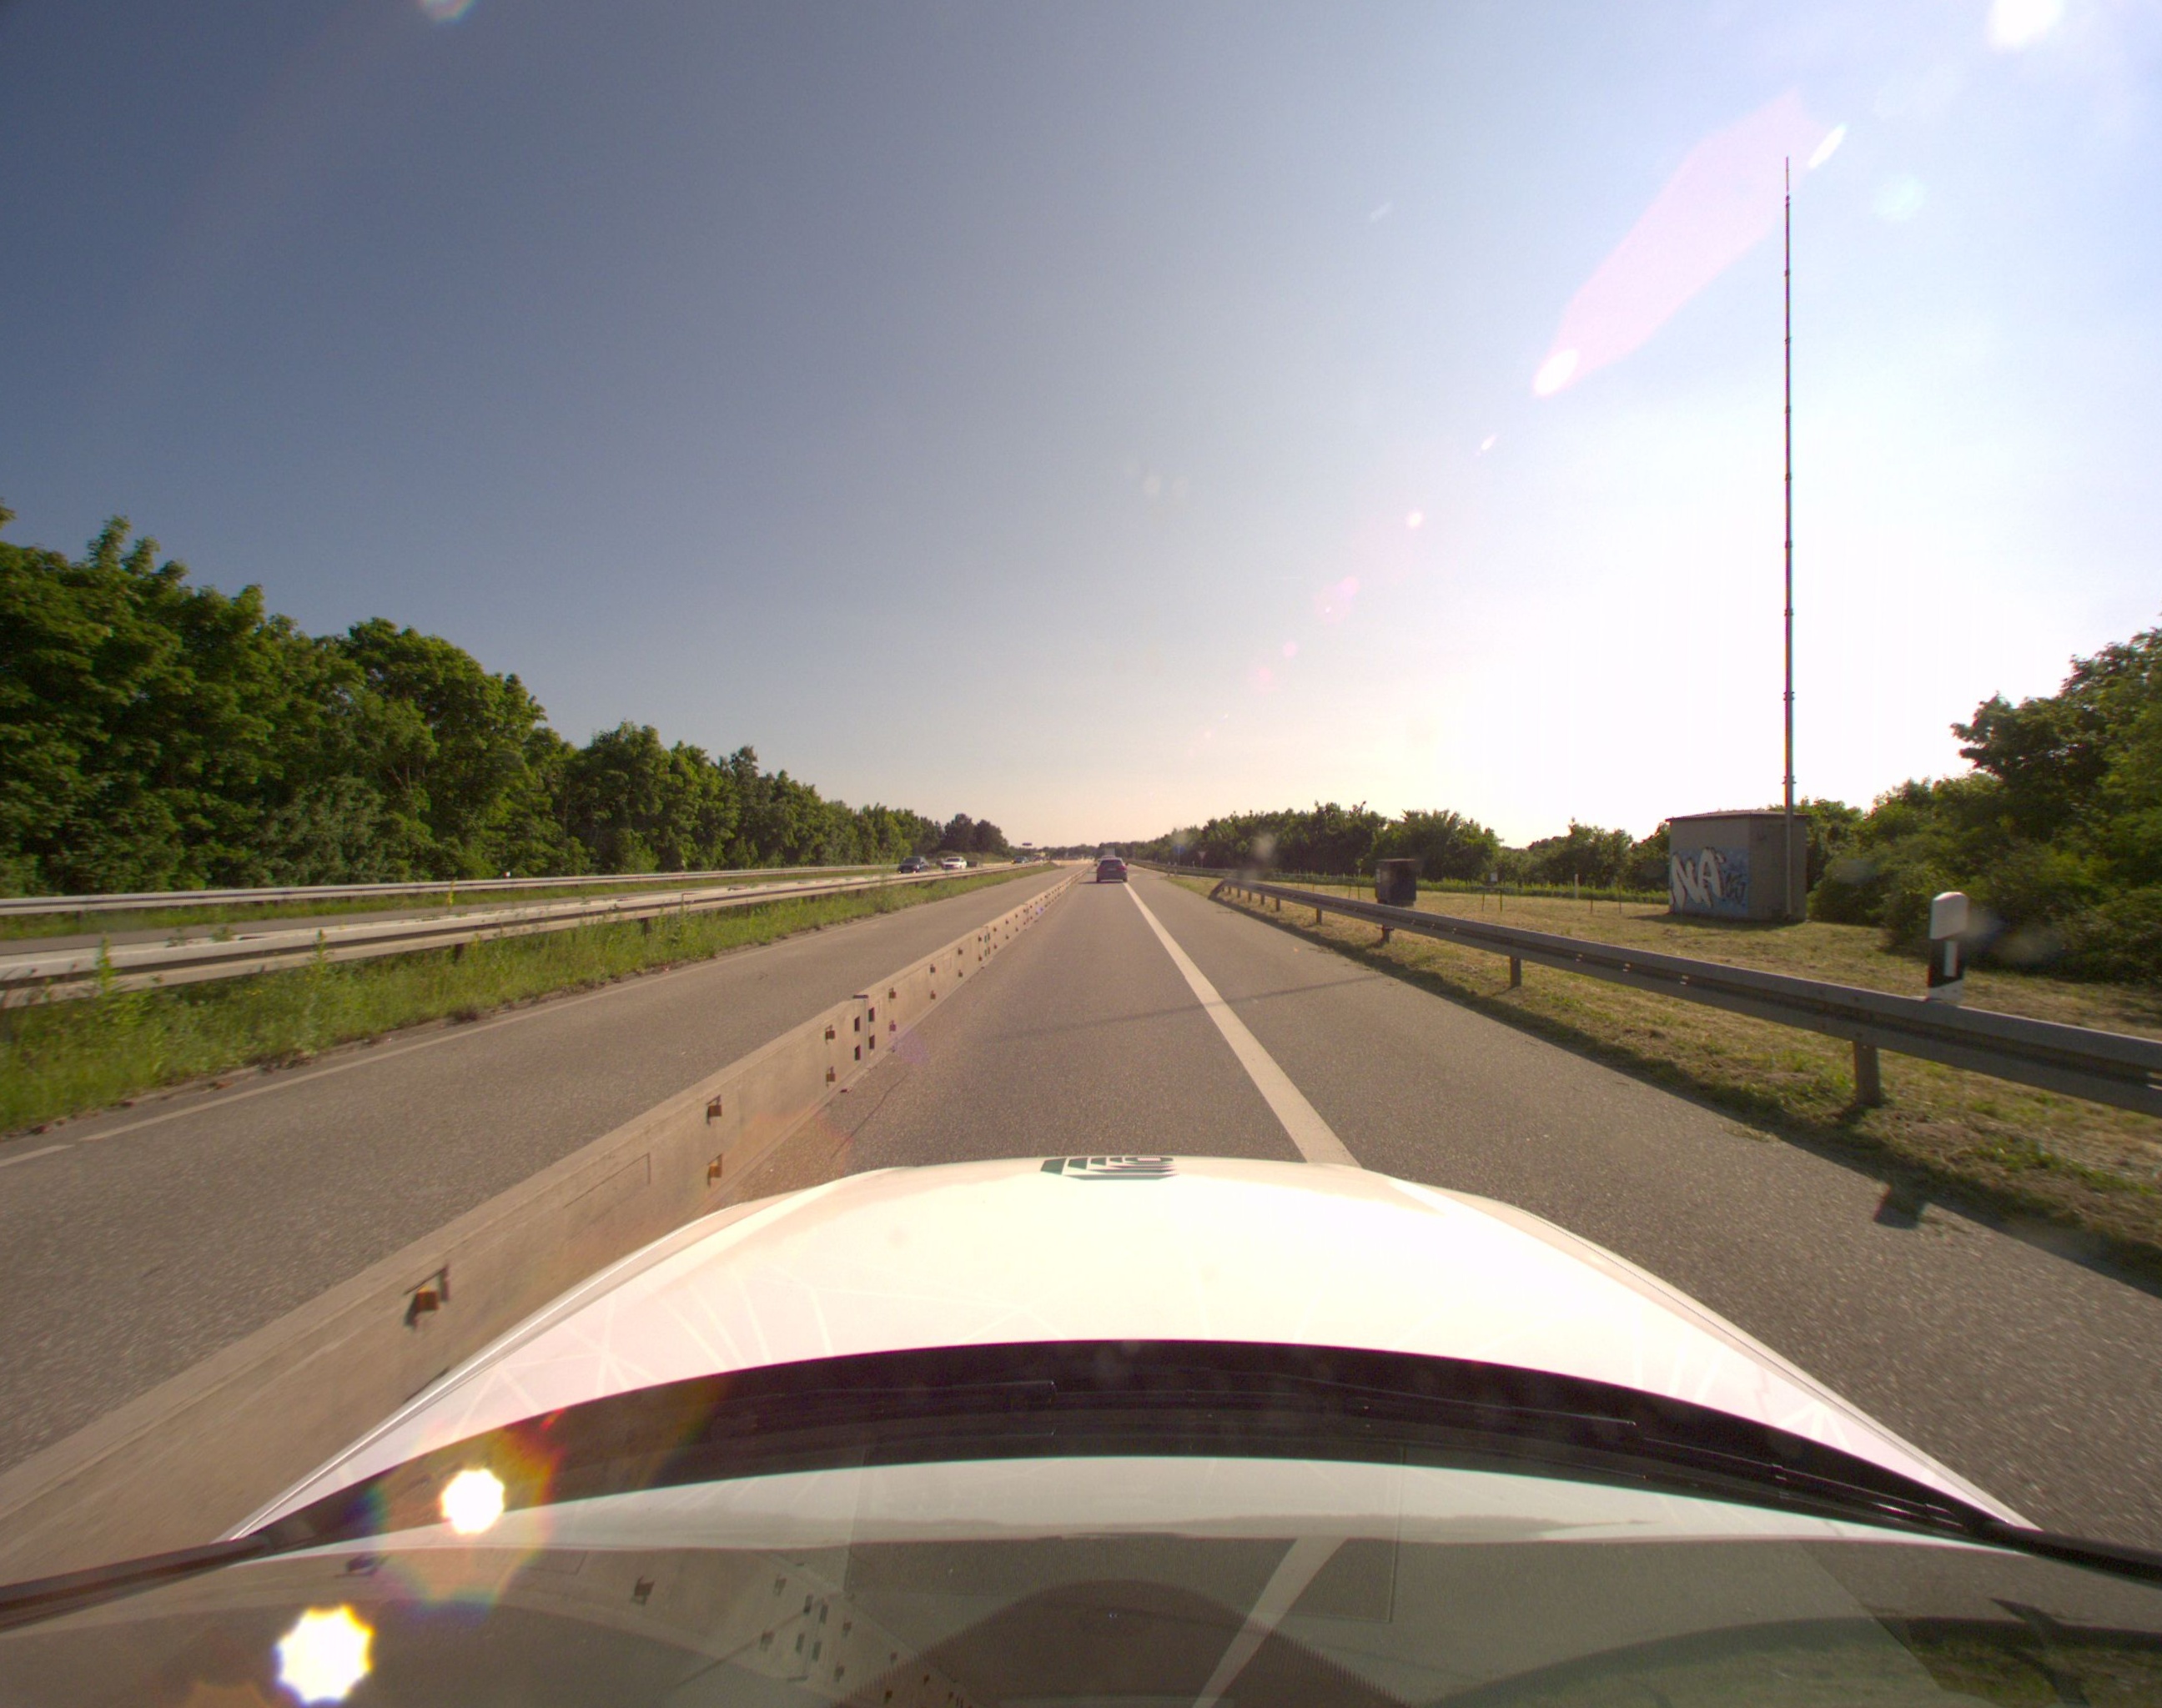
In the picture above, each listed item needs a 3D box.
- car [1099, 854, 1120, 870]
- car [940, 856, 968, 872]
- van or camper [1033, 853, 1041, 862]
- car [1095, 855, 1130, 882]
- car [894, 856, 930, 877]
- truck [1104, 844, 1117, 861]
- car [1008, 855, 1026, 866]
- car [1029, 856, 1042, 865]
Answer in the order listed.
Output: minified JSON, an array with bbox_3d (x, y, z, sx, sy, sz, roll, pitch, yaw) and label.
[{"bbox_3d":[2.799,0.743,78.655,1.986,1.567,4.002,0,0,2],"label":"car"},{"bbox_3d":[-11.914,0.939,76.733,1.753,1.470,4.795,1,0,1],"label":"car"},{"bbox_3d":[-11.685,0.952,216.418,1.990,2.378,6.192,-3,0,-4],"label":"van or camper"},{"bbox_3d":[1.832,0.805,47.946,1.914,1.494,4.000,-1,0,0],"label":"car"},{"bbox_3d":[-12.608,0.886,60.923,1.732,1.494,4.110,0,0,1],"label":"car"},{"bbox_3d":[8.873,-0.353,246.595,3.748,4.911,14.138,0,0,1],"label":"truck"},{"bbox_3d":[-9.153,0.986,116.827,1.808,1.488,5.028,-2,0,3],"label":"car"},{"bbox_3d":[-7.793,1.134,139.059,1.790,1.434,4.595,0,0,2],"label":"car"}]
